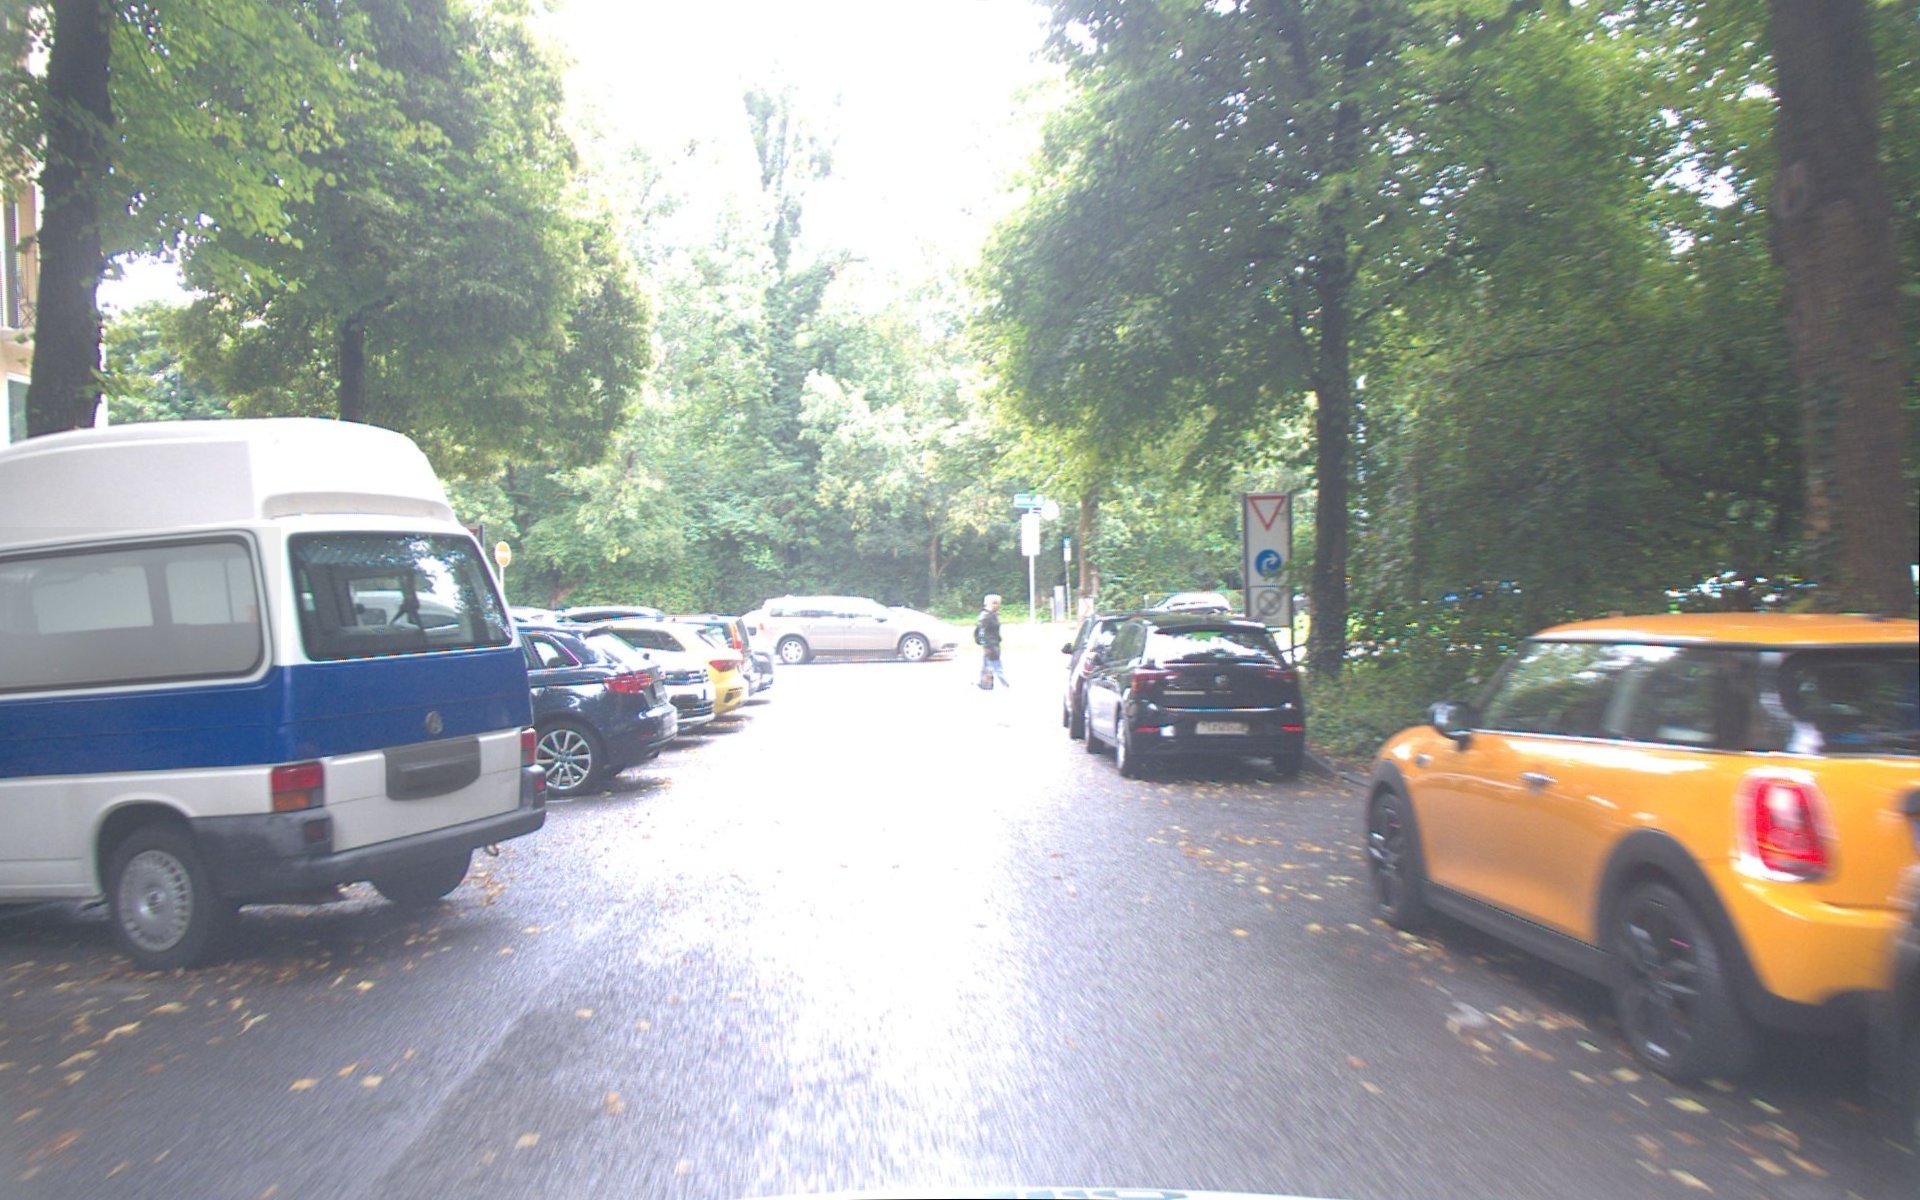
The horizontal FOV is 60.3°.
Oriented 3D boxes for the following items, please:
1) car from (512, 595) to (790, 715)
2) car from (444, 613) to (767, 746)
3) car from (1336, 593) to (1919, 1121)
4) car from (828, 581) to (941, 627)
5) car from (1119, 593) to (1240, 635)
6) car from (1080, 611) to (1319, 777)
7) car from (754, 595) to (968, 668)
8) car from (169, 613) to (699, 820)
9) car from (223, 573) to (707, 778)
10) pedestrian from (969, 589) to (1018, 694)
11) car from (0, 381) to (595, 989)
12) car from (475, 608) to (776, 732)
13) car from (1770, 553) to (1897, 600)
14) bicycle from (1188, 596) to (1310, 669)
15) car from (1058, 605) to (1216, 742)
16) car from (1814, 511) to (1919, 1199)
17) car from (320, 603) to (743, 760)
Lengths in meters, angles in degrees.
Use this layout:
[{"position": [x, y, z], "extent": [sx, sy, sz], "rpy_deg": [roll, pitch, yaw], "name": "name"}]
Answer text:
[{"position": [-4.876, 0.854, 26.525], "extent": [4.079, 1.629, 1.735], "rpy_deg": [-3, 2, -2], "name": "car"}, {"position": [-4.506, 0.993, 21.462], "extent": [3.802, 1.466, 1.739], "rpy_deg": [-3, 0, -3], "name": "car"}, {"position": [2.874, 0.709, 6.572], "extent": [1.587, 1.437, 3.776], "rpy_deg": [-1, 0, -5], "name": "car"}, {"position": [-2.982, 0.157, 65.479], "extent": [4.347, 1.606, 1.930], "rpy_deg": [-2, 0, -4], "name": "car"}, {"position": [8.928, 0.576, 67.306], "extent": [4.498, 1.497, 1.927], "rpy_deg": [-2, 0, -10], "name": "car"}, {"position": [2.232, 0.829, 16.401], "extent": [1.648, 1.382, 4.007], "rpy_deg": [-1, 0, -2], "name": "car"}, {"position": [-2.232, 0.713, 38.209], "extent": [4.701, 1.522, 1.843], "rpy_deg": [-1, 0, 4], "name": "car"}, {"position": [-4.323, 0.931, 14.076], "extent": [3.907, 1.458, 1.735], "rpy_deg": [-3, 0, -2], "name": "car"}, {"position": [-4.849, 0.719, 16.628], "extent": [4.224, 1.761, 1.849], "rpy_deg": [-3, 0, 1], "name": "car"}, {"position": [0.551, 0.668, 27.105], "extent": [0.763, 1.645, 0.761], "rpy_deg": [-1, 2, 1], "name": "pedestrian"}, {"position": [-4.318, 0.432, 8.280], "extent": [4.474, 2.419, 1.905], "rpy_deg": [-3, -1, 21], "name": "car"}, {"position": [-4.689, 0.967, 23.607], "extent": [3.907, 1.489, 1.735], "rpy_deg": [-3, 1, -2], "name": "car"}, {"position": [34.990, -0.957, 66.301], "extent": [4.435, 1.697, 1.922], "rpy_deg": [-2, 0, -18], "name": "car"}, {"position": [4.197, 0.477, 24.072], "extent": [1.715, 0.999, 0.273], "rpy_deg": [-2, 0, 7], "name": "bicycle"}, {"position": [2.121, 0.841, 20.657], "extent": [1.614, 1.500, 3.644], "rpy_deg": [-1, 0, 1], "name": "car"}, {"position": [2.968, 0.626, 1.668], "extent": [1.794, 1.657, 4.524], "rpy_deg": [-1, 0, -1], "name": "car"}, {"position": [-4.868, 0.903, 19.173], "extent": [4.355, 1.624, 1.836], "rpy_deg": [-1, 0, 3], "name": "car"}]
